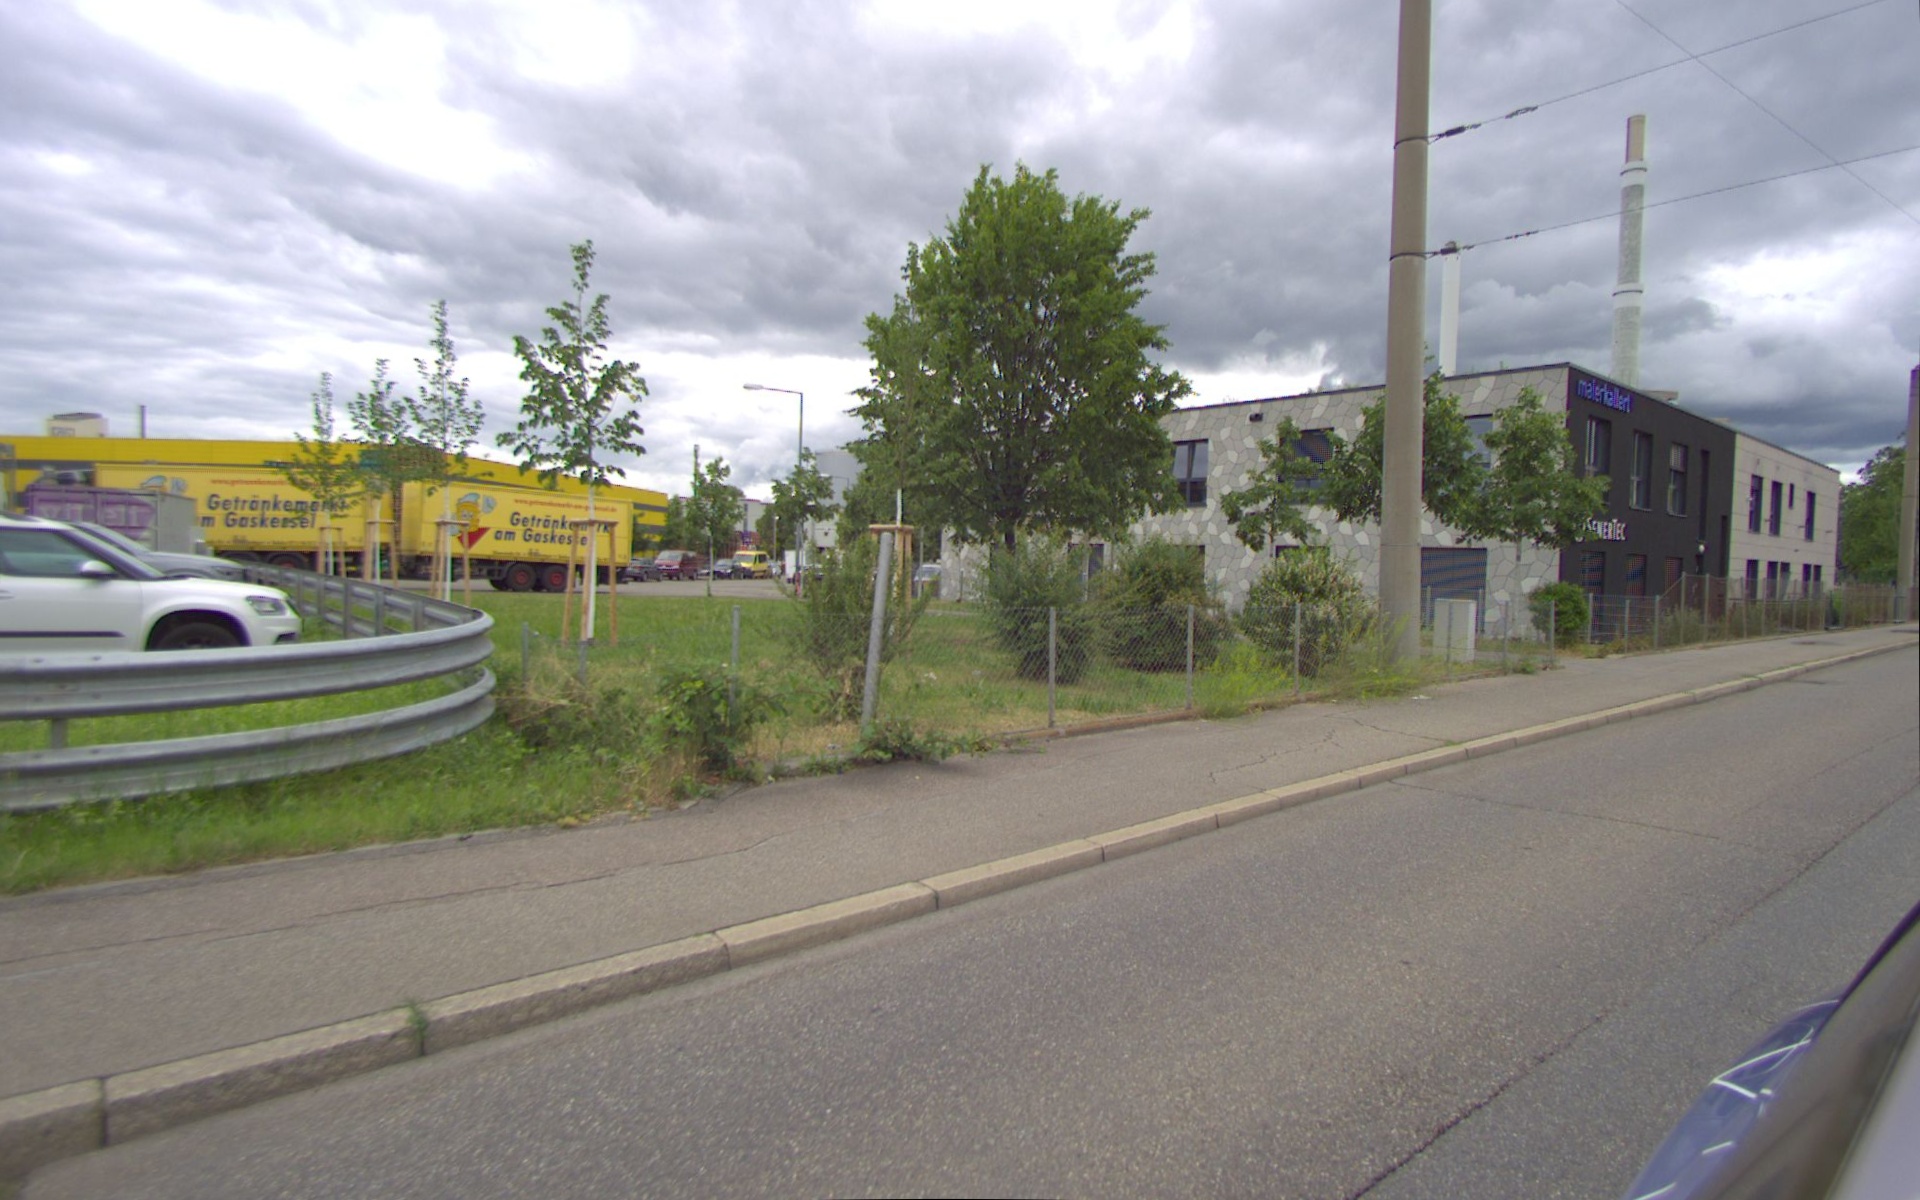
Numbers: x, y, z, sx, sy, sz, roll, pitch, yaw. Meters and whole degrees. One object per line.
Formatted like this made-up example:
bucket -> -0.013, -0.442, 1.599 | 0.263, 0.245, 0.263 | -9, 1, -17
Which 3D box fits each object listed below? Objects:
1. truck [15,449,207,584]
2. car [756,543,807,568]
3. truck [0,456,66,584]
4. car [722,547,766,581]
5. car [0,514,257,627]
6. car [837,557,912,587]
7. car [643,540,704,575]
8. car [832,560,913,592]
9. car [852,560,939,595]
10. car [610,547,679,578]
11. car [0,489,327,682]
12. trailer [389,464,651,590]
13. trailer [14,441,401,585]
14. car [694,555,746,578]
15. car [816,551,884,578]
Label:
truck -> -22.558, -2.001, 27.342 | 2.571, 3.075, 7.779 | -1, 1, -30
car -> -12.684, -3.152, 72.056 | 1.971, 1.605, 4.358 | 0, 1, 14
truck -> -24.360, -1.945, 23.998 | 2.301, 3.075, 7.786 | -1, 1, -22
car -> -18.042, -2.997, 84.704 | 1.970, 2.723, 4.360 | 2, 3, 13
car -> -14.554, -0.500, 16.881 | 4.600, 1.741, 1.918 | 0, 3, -36
car -> -5.022, -1.652, 60.002 | 4.292, 1.604, 2.001 | 2, 2, -1
car -> -18.996, -2.788, 67.267 | 1.971, 2.147, 4.358 | 0, 1, 14
car -> -4.810, -1.372, 56.142 | 4.292, 1.604, 2.001 | 2, 2, -1
car -> -3.212, -1.138, 51.193 | 4.292, 1.604, 2.001 | 2, 2, -1
car -> -18.942, -2.237, 60.977 | 1.971, 1.713, 4.358 | 4, 2, 14
car -> -8.373, -0.137, 9.111 | 4.350, 1.594, 1.753 | 0, 1, -39
trailer -> -16.440, -2.586, 38.326 | 8.545, 4.122, 2.945 | 1, 2, -42
trailer -> -24.314, -2.737, 33.330 | 9.813, 4.011, 2.926 | 2, 2, -13
car -> -17.496, -2.407, 73.915 | 1.970, 1.625, 4.359 | 0, 1, 13
car -> -7.241, -2.334, 66.764 | 4.292, 1.604, 2.001 | 2, 2, -1
